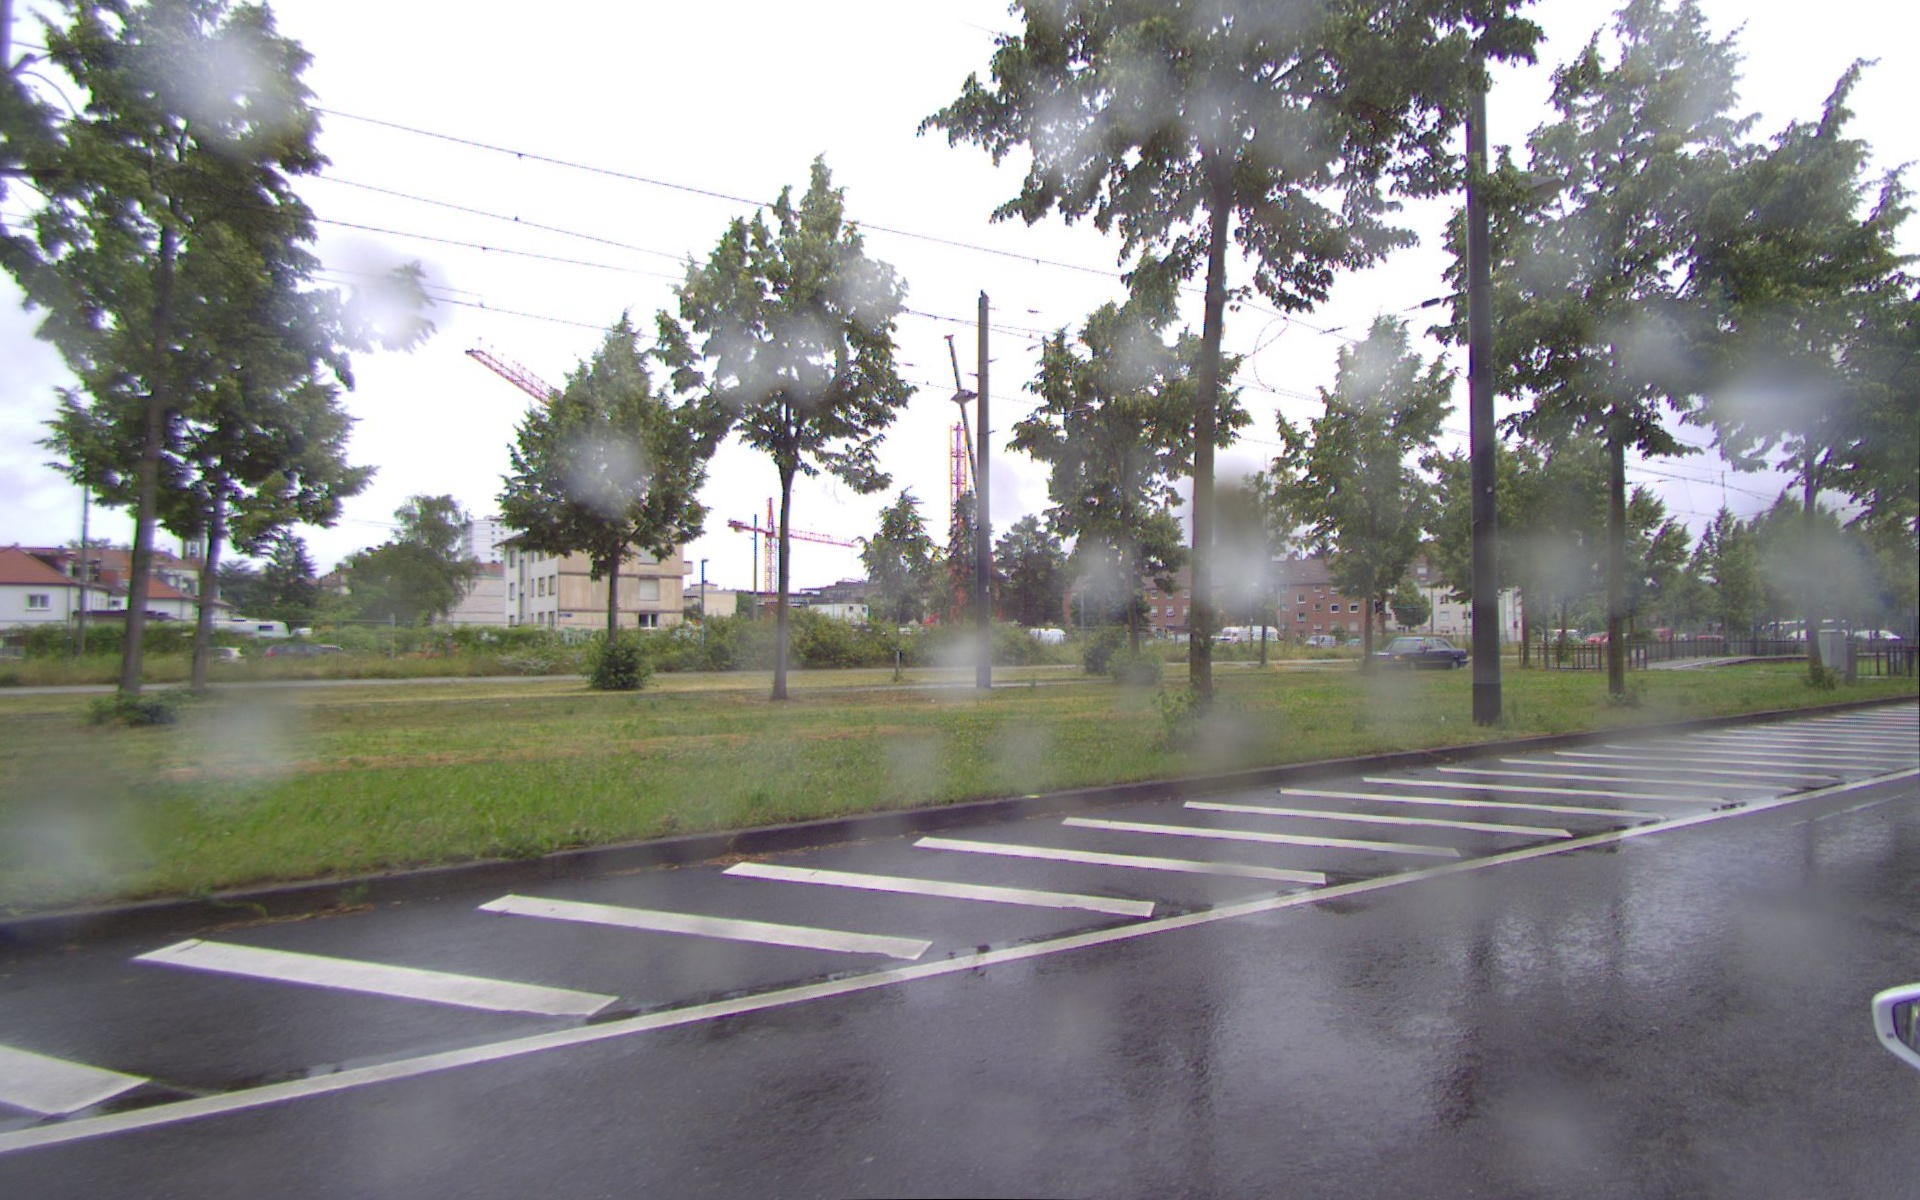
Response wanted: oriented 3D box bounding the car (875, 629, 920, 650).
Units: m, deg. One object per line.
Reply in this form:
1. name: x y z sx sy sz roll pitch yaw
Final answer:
1. car: -5.861 3.679 93.905 1.805 1.840 3.974 -2 -1 45

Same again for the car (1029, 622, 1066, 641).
1. car: 9.320 3.347 106.692 1.805 1.840 3.974 -2 -1 45

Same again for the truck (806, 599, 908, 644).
1. truck: -13.459 2.789 132.978 6.100 5.467 13.268 -2 -1 35

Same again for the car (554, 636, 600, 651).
1. car: -27.026 3.050 70.899 2.860 0.991 1.181 1 -2 -33

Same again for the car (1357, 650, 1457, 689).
1. car: 16.550 2.525 37.066 4.940 1.315 1.475 2 -3 -42

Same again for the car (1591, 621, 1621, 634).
1. car: 91.348 3.937 142.165 3.482 1.762 1.702 -2 -1 32

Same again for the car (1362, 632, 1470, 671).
1. car: 17.007 1.888 37.391 4.806 1.283 1.538 0 -1 -37

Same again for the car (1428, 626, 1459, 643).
1. car: 62.670 4.415 130.167 3.960 2.040 1.981 -1 -1 -35

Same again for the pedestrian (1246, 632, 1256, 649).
1. pedestrian: 29.954 4.202 103.452 0.691 1.694 0.670 -1 -1 -43
